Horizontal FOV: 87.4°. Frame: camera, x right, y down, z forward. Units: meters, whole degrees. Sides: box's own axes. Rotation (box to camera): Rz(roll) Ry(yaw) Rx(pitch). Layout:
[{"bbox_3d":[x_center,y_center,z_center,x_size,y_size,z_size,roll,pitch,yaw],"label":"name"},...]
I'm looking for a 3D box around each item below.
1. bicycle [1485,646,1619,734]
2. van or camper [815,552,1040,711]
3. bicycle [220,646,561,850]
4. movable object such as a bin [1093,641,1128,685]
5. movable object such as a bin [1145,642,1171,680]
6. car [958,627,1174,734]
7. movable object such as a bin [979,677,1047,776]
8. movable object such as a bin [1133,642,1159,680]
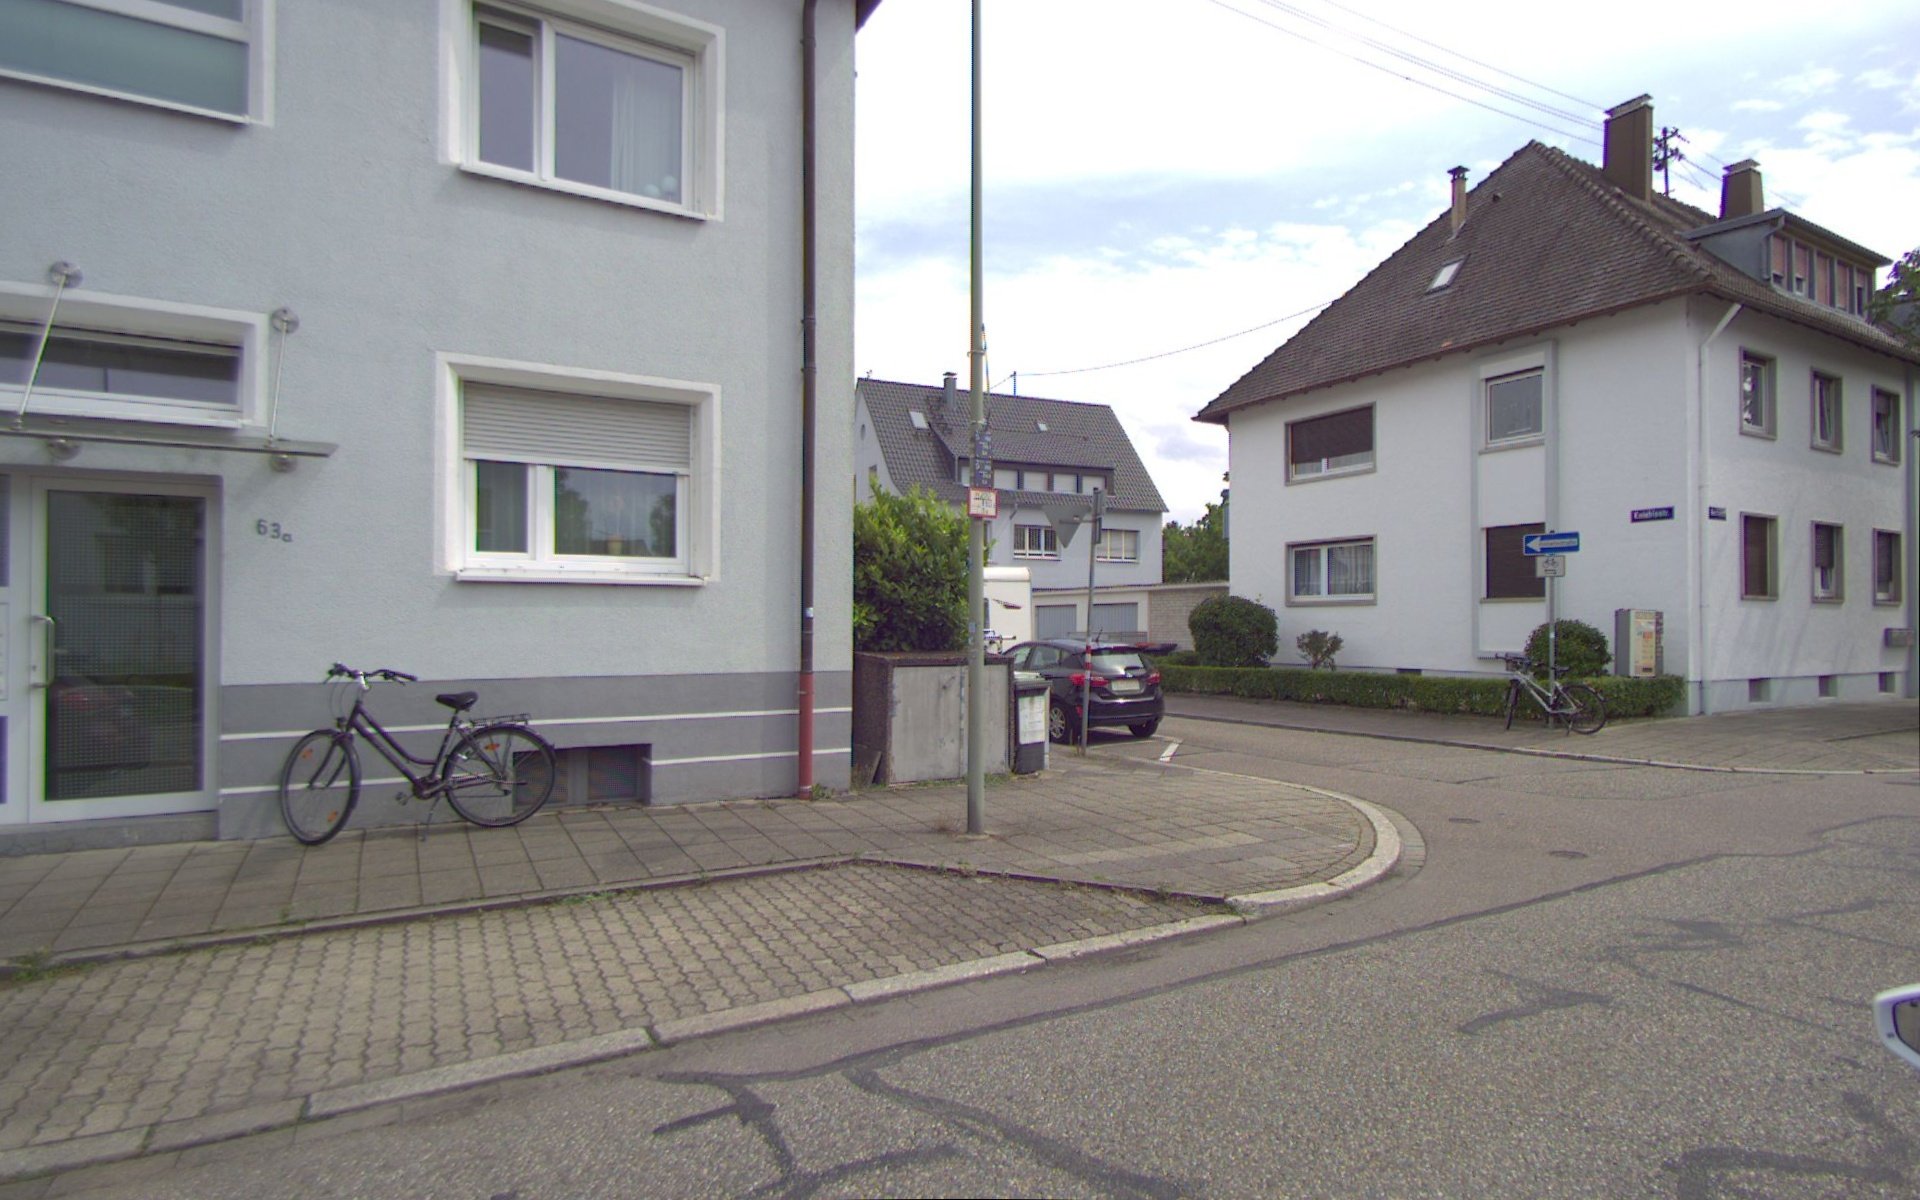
[{"bbox_3d":[8.536,1.282,14.559,0.430,1.194,1.625,1,-3,-33],"label":"bicycle"},{"bbox_3d":[-0.932,0.734,20.745,2.380,2.760,6.124,1,-3,-26],"label":"van or camper"},{"bbox_3d":[-3.610,0.893,6.520,1.851,1.168,0.488,1,-3,-30],"label":"bicycle"},{"bbox_3d":[3.953,1.652,26.412,0.574,1.152,0.749,1,-3,-28],"label":"movable object such as a bin"},{"bbox_3d":[5.208,1.600,26.410,0.449,0.986,0.503,1,-3,-28],"label":"movable object such as a bin"},{"bbox_3d":[1.496,1.192,15.602,1.641,1.441,3.746,1,-3,-25],"label":"car"},{"bbox_3d":[0.518,1.230,9.889,0.471,0.918,0.483,1,-3,-35],"label":"movable object such as a bin"},{"bbox_3d":[4.980,1.633,26.891,0.449,0.986,0.503,1,-3,-28],"label":"movable object such as a bin"}]
